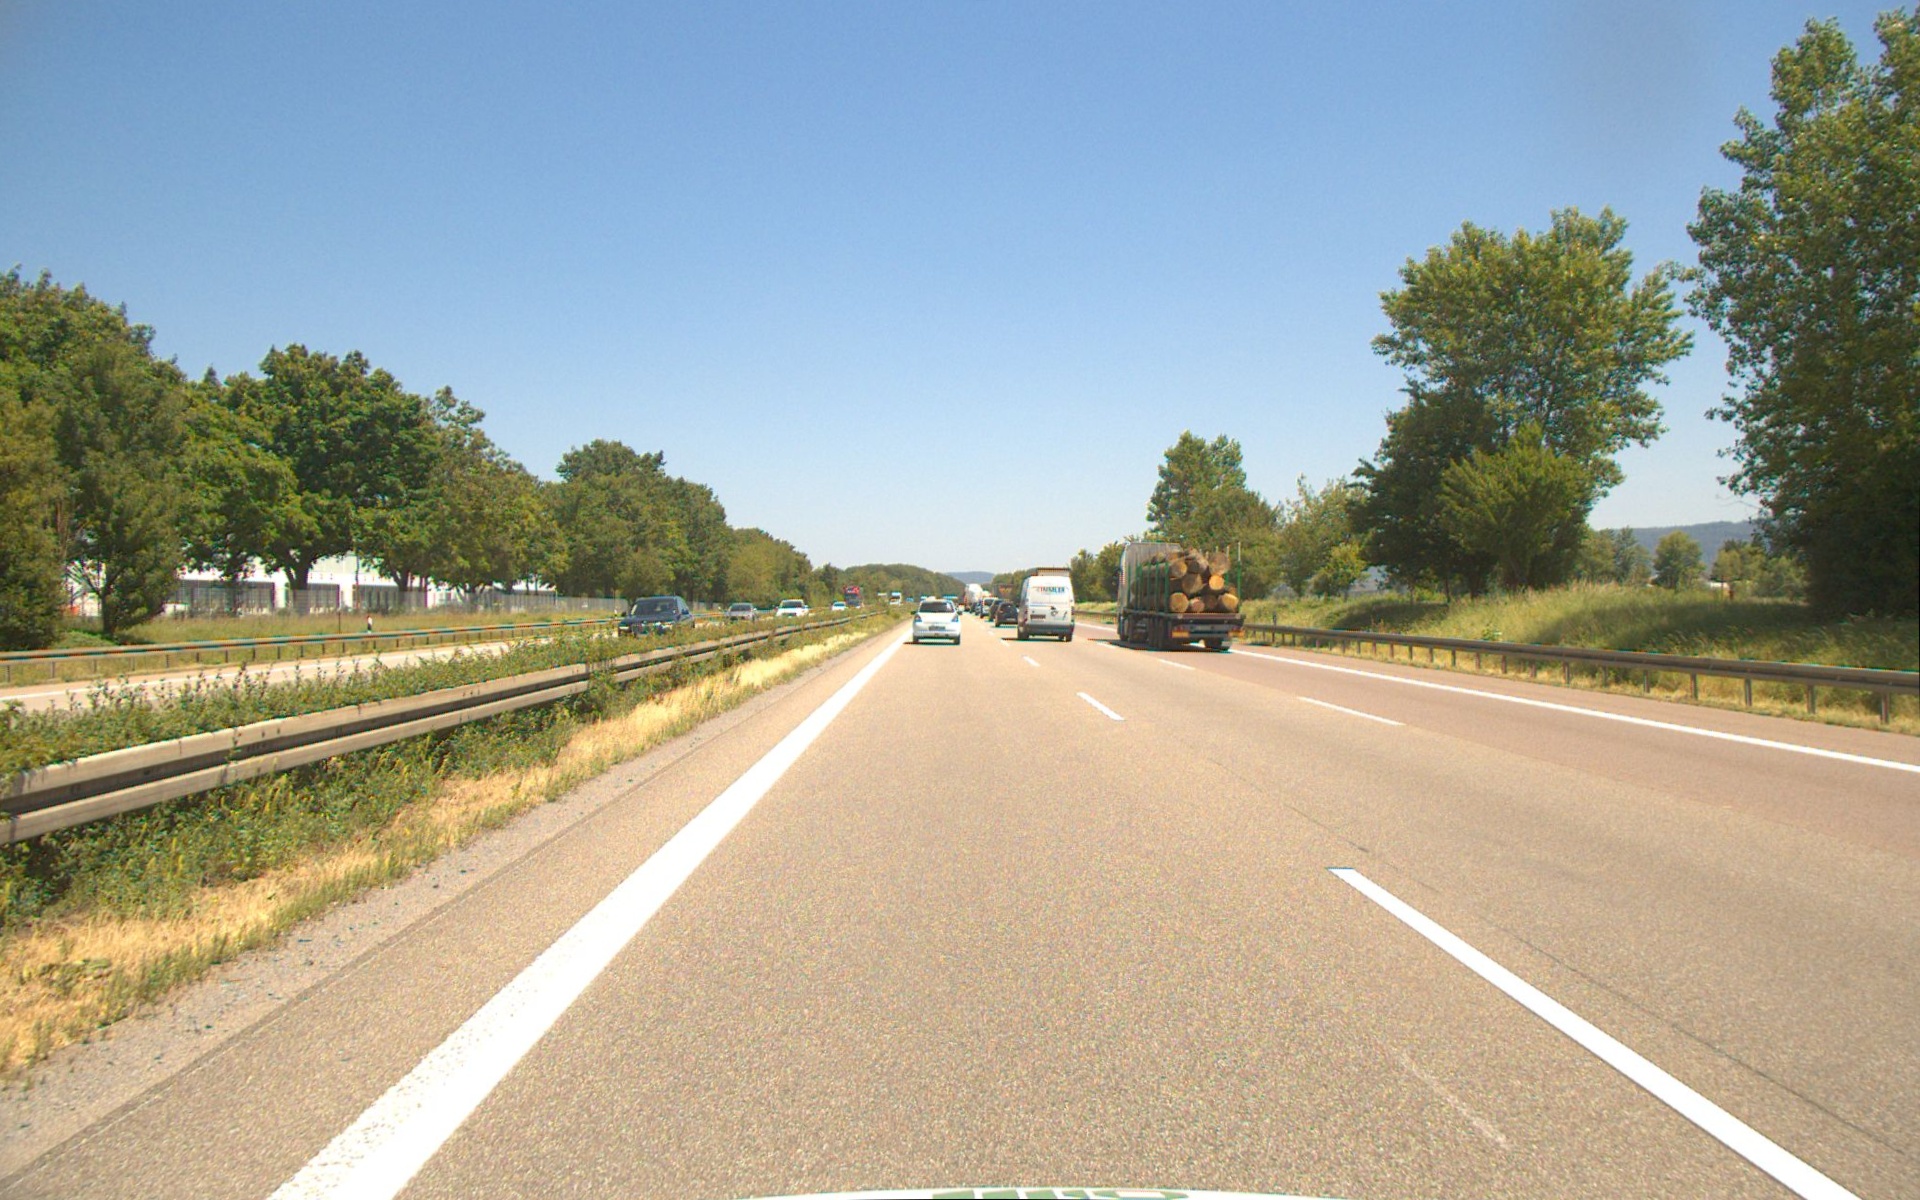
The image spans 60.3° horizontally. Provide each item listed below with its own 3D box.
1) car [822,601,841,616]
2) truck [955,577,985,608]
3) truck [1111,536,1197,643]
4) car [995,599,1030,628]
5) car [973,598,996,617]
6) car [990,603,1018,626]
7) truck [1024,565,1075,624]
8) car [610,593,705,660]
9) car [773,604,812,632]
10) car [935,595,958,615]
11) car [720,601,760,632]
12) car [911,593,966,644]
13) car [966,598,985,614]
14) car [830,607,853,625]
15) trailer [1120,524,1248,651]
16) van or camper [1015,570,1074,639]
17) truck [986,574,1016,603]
[{"bbox_3d":[-15.233,0.997,196.154,1.953,1.668,4.857,-3,0,-2],"label":"car"},{"bbox_3d":[1.390,-1.067,241.282,3.193,4.282,16.833,2,0,-3],"label":"truck"},{"bbox_3d":[7.782,-0.404,67.036,2.615,4.064,6.635,1,0,-1],"label":"truck"},{"bbox_3d":[3.101,0.791,98.939,1.820,1.681,3.998,1,0,-2],"label":"car"},{"bbox_3d":[2.127,0.652,145.747,1.820,1.681,3.998,1,0,-2],"label":"car"},{"bbox_3d":[3.301,1.054,125.020,1.820,1.681,3.998,1,0,-2],"label":"car"},{"bbox_3d":[6.973,-0.377,131.362,3.016,4.282,16.842,2,0,0],"label":"truck"},{"bbox_3d":[-9.363,0.794,51.668,1.953,1.919,5.647,2,0,-1],"label":"car"},{"bbox_3d":[-10.475,1.099,103.708,1.953,1.668,4.572,2,0,-1],"label":"car"},{"bbox_3d":[-1.202,0.437,143.551,1.820,1.681,3.998,1,0,-2],"label":"car"},{"bbox_3d":[-13.445,1.001,101.316,1.834,1.825,4.423,2,0,-1],"label":"car"},{"bbox_3d":[-0.795,0.644,58.211,1.820,1.681,3.998,2,0,-2],"label":"car"},{"bbox_3d":[1.605,0.648,176.454,1.820,1.681,3.998,1,0,-2],"label":"car"},{"bbox_3d":[-12.097,1.593,169.324,1.953,1.668,4.858,-4,0,-1],"label":"car"},{"bbox_3d":[7.848,-0.394,59.902,2.599,4.028,13.634,1,0,-1],"label":"trailer"},{"bbox_3d":[3.378,0.185,67.181,2.016,2.668,5.984,1,0,-1],"label":"van or camper"},{"bbox_3d":[6.144,-1.670,250.912,3.193,4.282,16.833,2,0,-3],"label":"truck"}]
